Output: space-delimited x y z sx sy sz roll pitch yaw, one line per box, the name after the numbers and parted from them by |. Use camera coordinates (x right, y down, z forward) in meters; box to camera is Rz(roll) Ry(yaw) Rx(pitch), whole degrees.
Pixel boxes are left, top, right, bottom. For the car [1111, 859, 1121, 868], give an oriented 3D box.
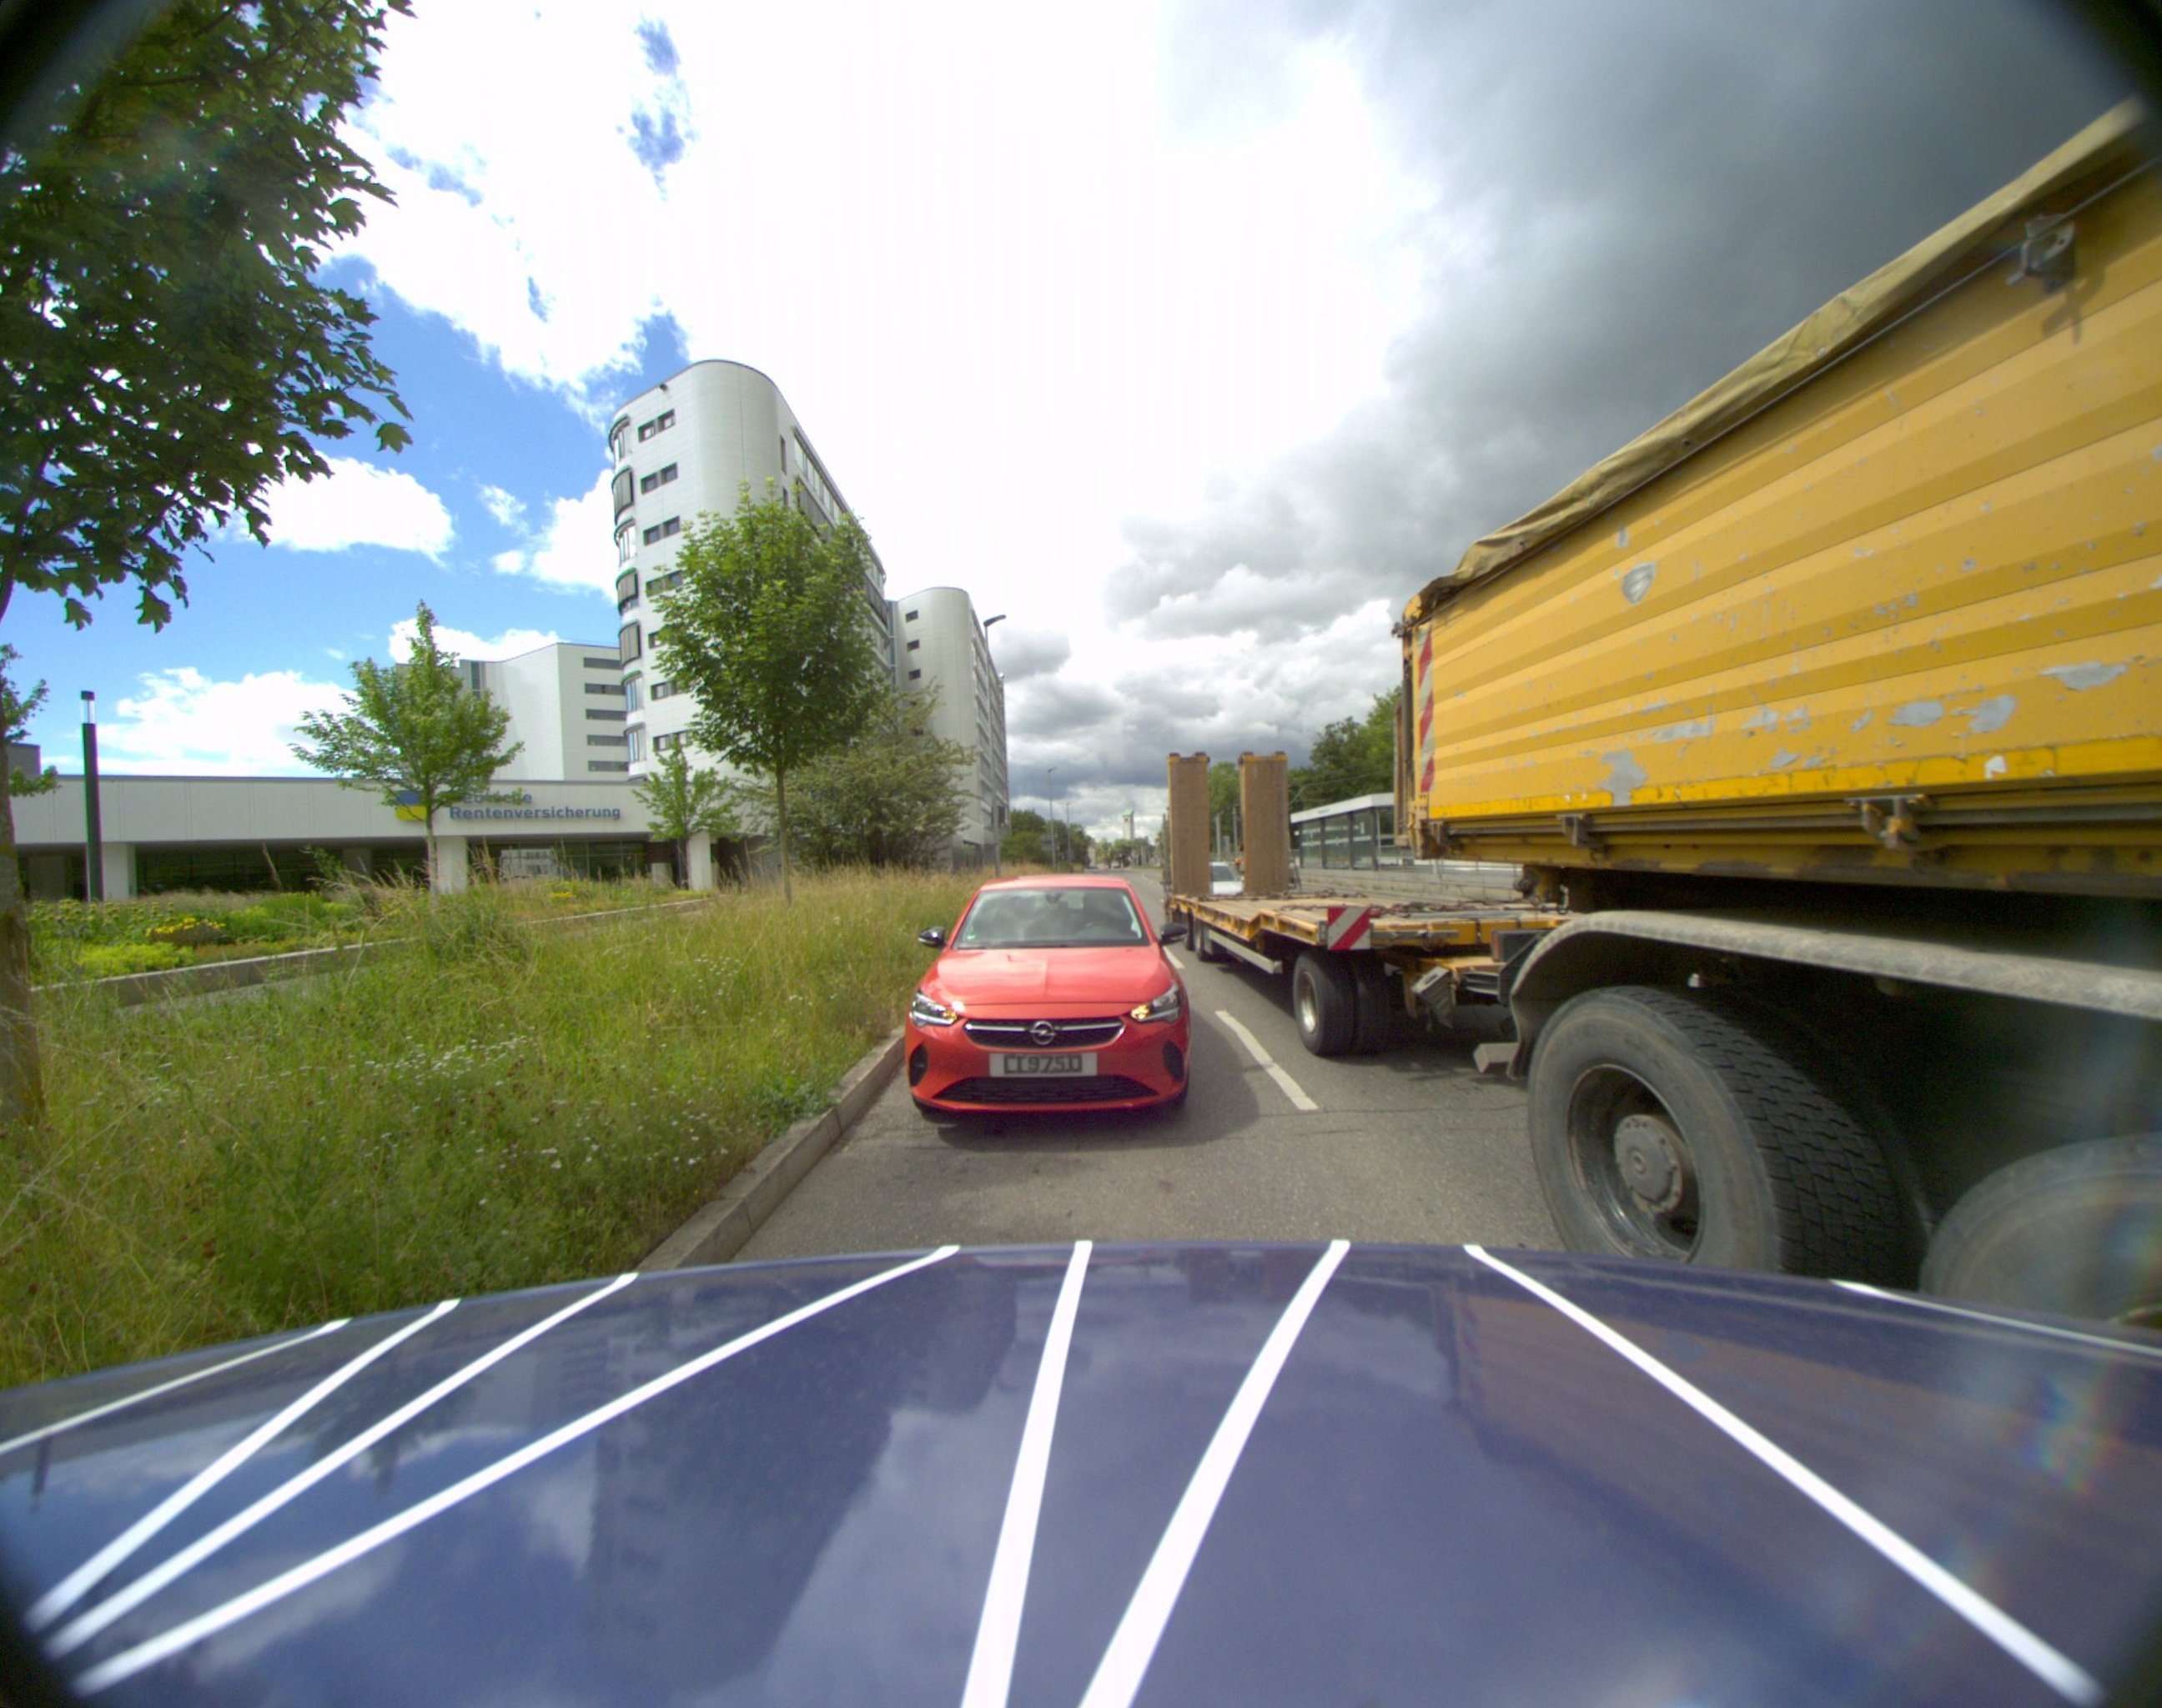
7.893 2.199 172.738 1.998 1.805 4.000 -2 0 1 | car

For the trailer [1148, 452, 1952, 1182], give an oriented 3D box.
2.934 -0.166 9.424 3.057 3.676 10.965 -2 0 0 | trailer

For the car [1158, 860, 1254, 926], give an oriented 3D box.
3.016 0.887 19.023 1.784 1.408 3.785 -2 0 1 | car

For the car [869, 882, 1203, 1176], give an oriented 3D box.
-0.206 0.996 5.853 1.749 1.408 3.676 -1 0 1 | car

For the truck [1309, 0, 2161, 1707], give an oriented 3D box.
2.844 -0.053 0.123 3.057 3.374 8.006 -2 0 0 | truck
